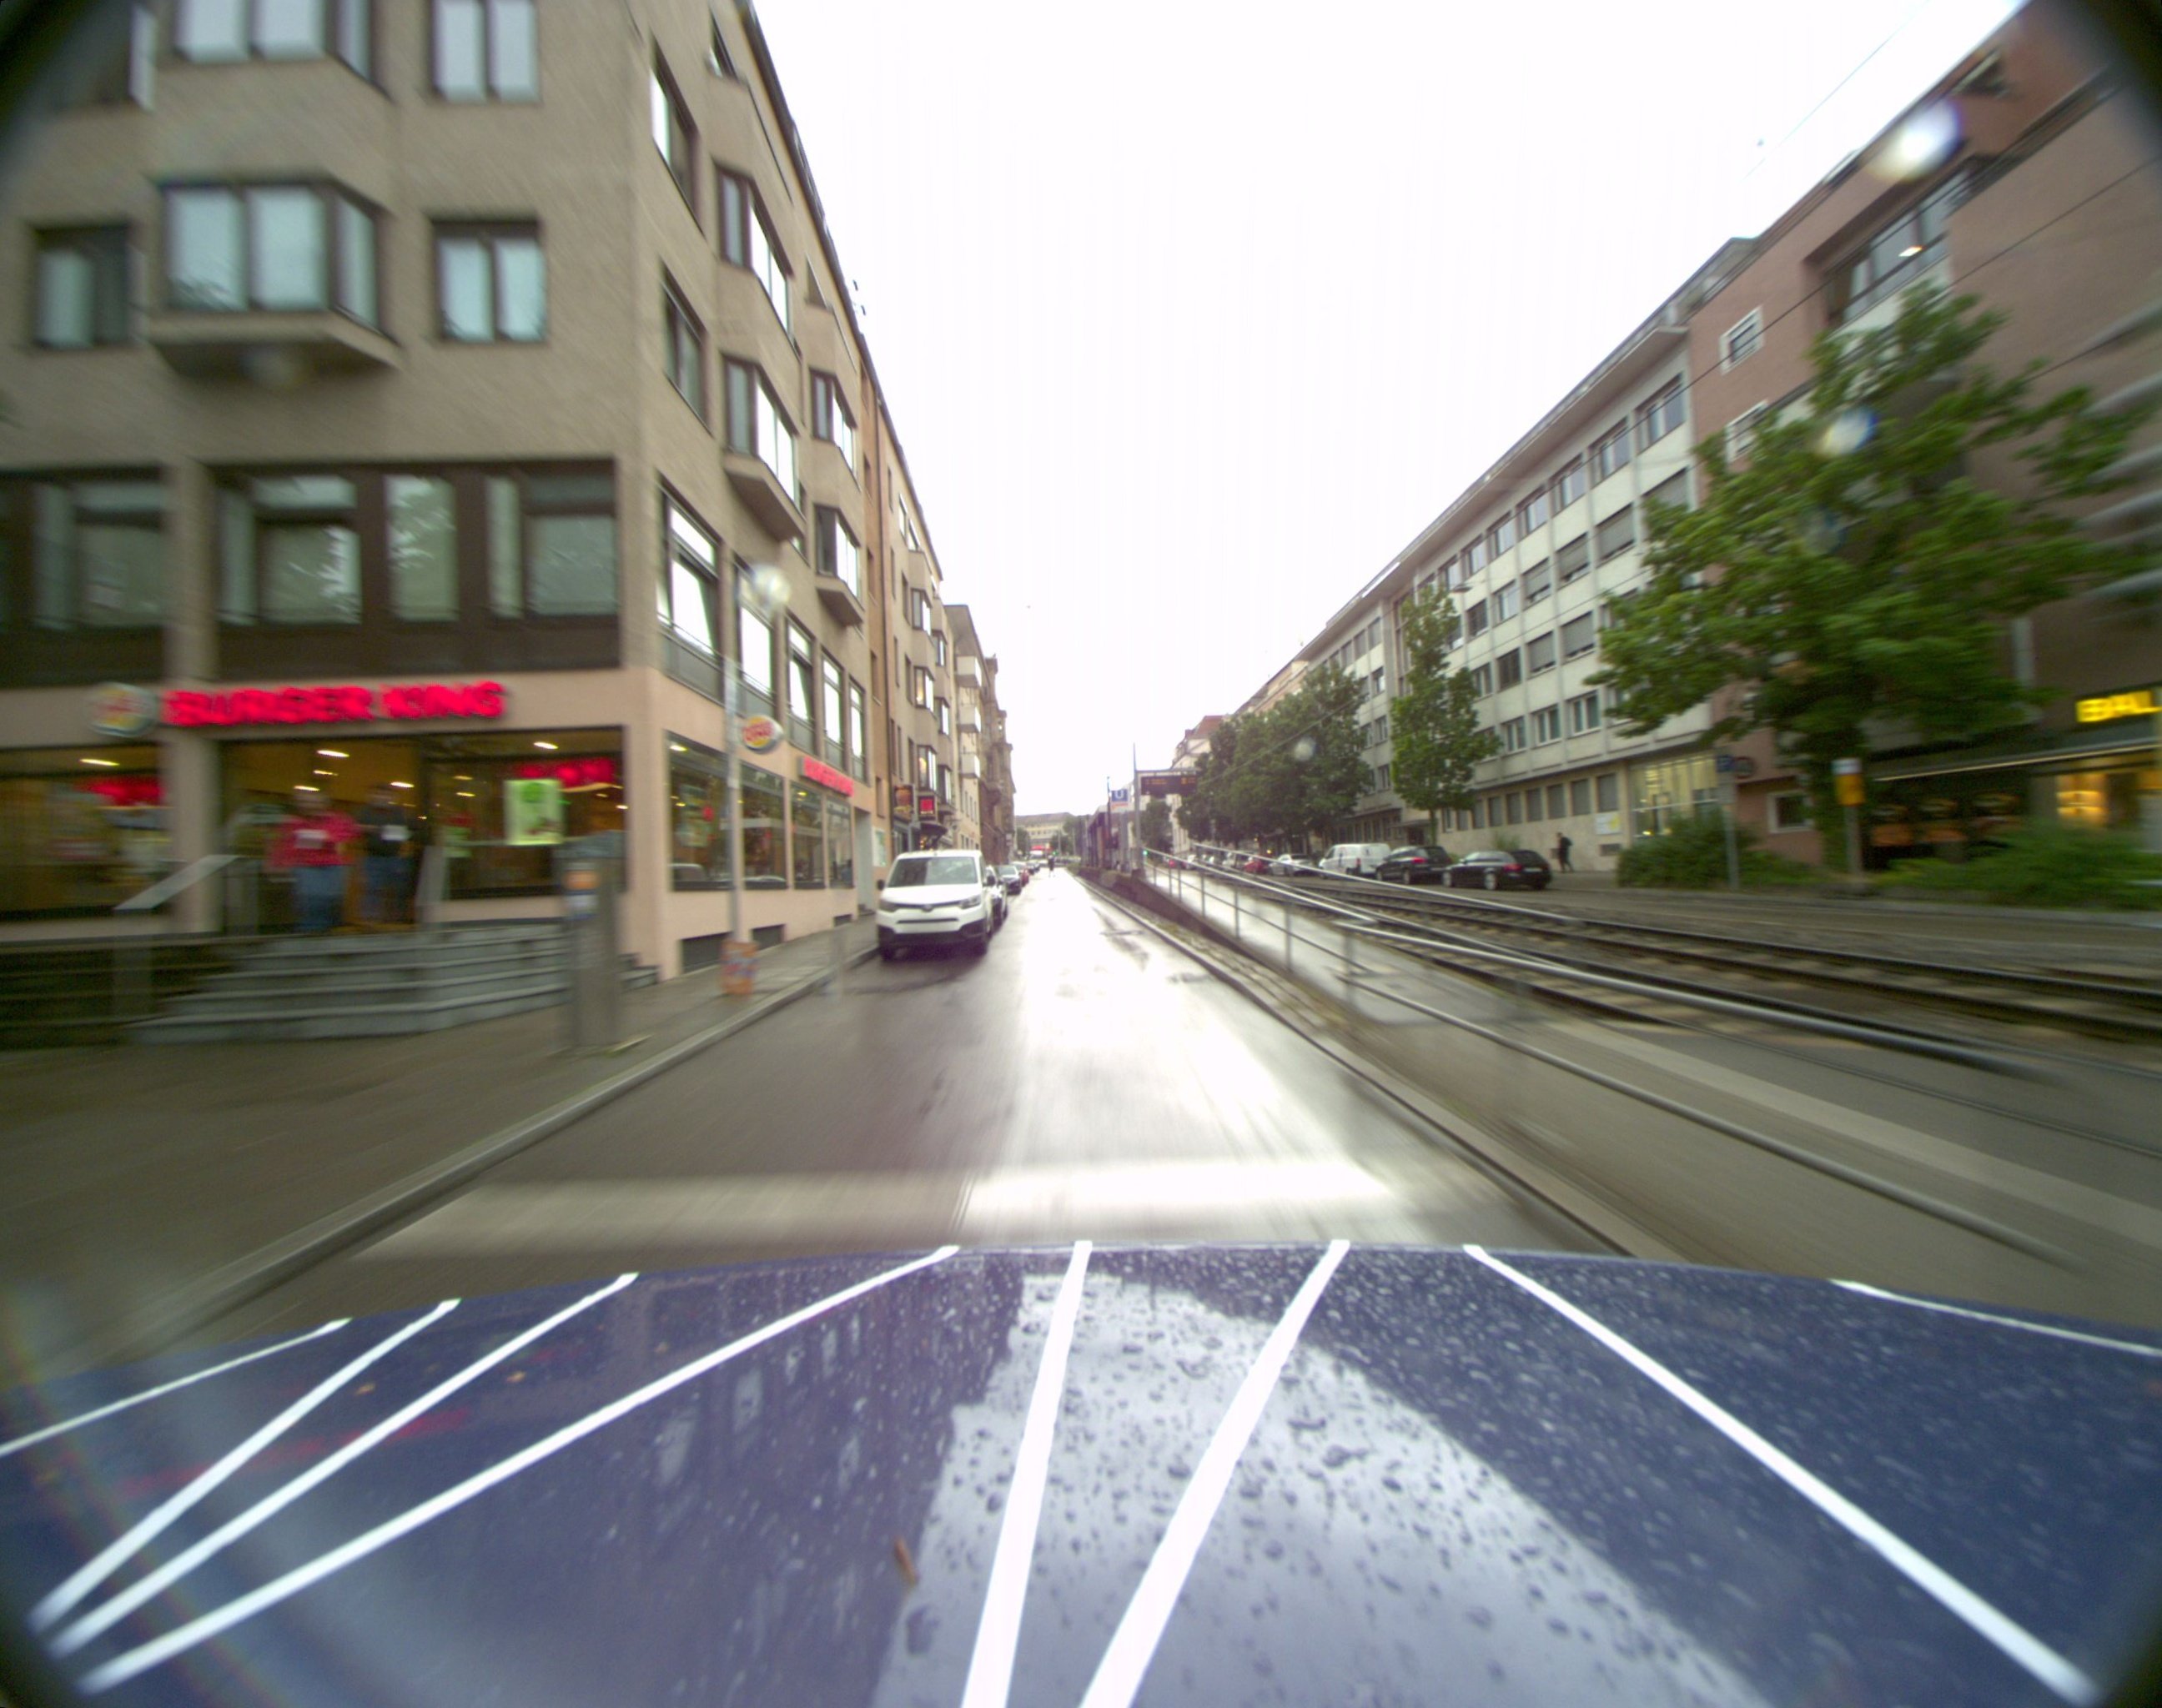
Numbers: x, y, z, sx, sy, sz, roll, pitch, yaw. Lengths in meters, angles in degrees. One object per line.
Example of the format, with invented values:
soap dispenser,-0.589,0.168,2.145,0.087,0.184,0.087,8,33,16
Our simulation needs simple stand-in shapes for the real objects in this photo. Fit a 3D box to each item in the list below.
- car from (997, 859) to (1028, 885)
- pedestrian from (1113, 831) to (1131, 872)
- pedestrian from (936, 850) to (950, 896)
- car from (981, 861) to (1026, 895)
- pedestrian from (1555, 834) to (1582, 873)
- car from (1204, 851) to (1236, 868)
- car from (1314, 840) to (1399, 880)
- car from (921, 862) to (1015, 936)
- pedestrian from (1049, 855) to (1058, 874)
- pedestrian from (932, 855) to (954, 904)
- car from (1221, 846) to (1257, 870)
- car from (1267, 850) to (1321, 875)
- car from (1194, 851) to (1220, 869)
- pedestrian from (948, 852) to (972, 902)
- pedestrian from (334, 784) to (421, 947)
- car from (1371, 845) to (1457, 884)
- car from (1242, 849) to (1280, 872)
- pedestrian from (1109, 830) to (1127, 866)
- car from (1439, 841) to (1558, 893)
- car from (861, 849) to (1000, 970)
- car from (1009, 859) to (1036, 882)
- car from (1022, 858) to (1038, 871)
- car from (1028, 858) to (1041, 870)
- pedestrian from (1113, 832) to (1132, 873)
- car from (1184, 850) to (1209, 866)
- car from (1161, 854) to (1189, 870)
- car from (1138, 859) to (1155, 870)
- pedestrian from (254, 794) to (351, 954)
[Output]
car,-4.202,1.090,46.994,1.650,1.453,3.413,-2,0,-2
pedestrian,1.598,-0.092,29.778,0.585,1.600,0.700,-1,1,-5
pedestrian,-5.708,0.773,31.396,0.530,1.848,0.556,-2,1,-10
car,-3.778,1.138,37.625,1.912,1.453,4.244,-2,0,-3
pedestrian,19.822,-0.024,30.927,0.701,1.548,0.585,-2,1,-8
car,12.257,0.489,67.429,1.643,1.432,4.728,-2,0,-4
car,13.961,0.281,38.906,1.913,1.834,5.254,-2,0,-6
car,-2.827,1.074,19.942,1.912,1.606,4.412,-2,0,-2
pedestrian,-2.482,0.941,68.756,0.653,1.752,0.882,-1,1,-6
pedestrian,-4.879,0.884,26.899,0.612,1.704,0.581,-1,1,-1
car,12.795,0.330,61.718,1.678,1.806,4.430,-2,0,-4
car,13.349,0.512,47.882,1.697,1.453,4.528,-2,0,-5
car,11.978,0.544,72.296,1.643,1.529,4.021,-2,0,-2
pedestrian,-4.517,0.839,28.317,0.758,1.808,0.588,-1,1,-1
pedestrian,-8.187,0.132,8.845,0.665,1.809,0.597,-1,1,38
car,14.224,0.423,32.764,1.643,1.527,4.370,-2,0,-2
car,13.223,0.466,56.006,1.643,1.530,3.802,-2,0,-4
pedestrian,1.757,-0.278,36.203,0.713,1.684,0.700,-1,1,-5
car,14.553,0.415,26.766,1.643,1.614,4.370,-2,0,-2
car,-2.574,0.851,14.172,1.912,1.796,4.775,-2,0,-4
car,-4.061,1.130,53.346,1.721,1.453,3.444,-2,0,-2
car,-5.446,1.098,80.642,1.628,1.343,3.828,-2,0,-4
car,-5.977,1.272,97.928,1.588,1.343,3.976,-2,0,-4
pedestrian,1.579,-0.070,29.068,0.585,1.548,0.700,-1,1,-5
car,11.966,0.399,78.913,1.662,1.575,4.336,-2,0,-4
car,9.120,0.727,73.835,1.697,1.453,4.528,-2,0,-5
car,8.541,1.321,99.221,1.643,1.330,3.734,-2,0,-4
pedestrian,-8.495,0.208,8.293,0.723,1.640,0.627,-1,1,38
